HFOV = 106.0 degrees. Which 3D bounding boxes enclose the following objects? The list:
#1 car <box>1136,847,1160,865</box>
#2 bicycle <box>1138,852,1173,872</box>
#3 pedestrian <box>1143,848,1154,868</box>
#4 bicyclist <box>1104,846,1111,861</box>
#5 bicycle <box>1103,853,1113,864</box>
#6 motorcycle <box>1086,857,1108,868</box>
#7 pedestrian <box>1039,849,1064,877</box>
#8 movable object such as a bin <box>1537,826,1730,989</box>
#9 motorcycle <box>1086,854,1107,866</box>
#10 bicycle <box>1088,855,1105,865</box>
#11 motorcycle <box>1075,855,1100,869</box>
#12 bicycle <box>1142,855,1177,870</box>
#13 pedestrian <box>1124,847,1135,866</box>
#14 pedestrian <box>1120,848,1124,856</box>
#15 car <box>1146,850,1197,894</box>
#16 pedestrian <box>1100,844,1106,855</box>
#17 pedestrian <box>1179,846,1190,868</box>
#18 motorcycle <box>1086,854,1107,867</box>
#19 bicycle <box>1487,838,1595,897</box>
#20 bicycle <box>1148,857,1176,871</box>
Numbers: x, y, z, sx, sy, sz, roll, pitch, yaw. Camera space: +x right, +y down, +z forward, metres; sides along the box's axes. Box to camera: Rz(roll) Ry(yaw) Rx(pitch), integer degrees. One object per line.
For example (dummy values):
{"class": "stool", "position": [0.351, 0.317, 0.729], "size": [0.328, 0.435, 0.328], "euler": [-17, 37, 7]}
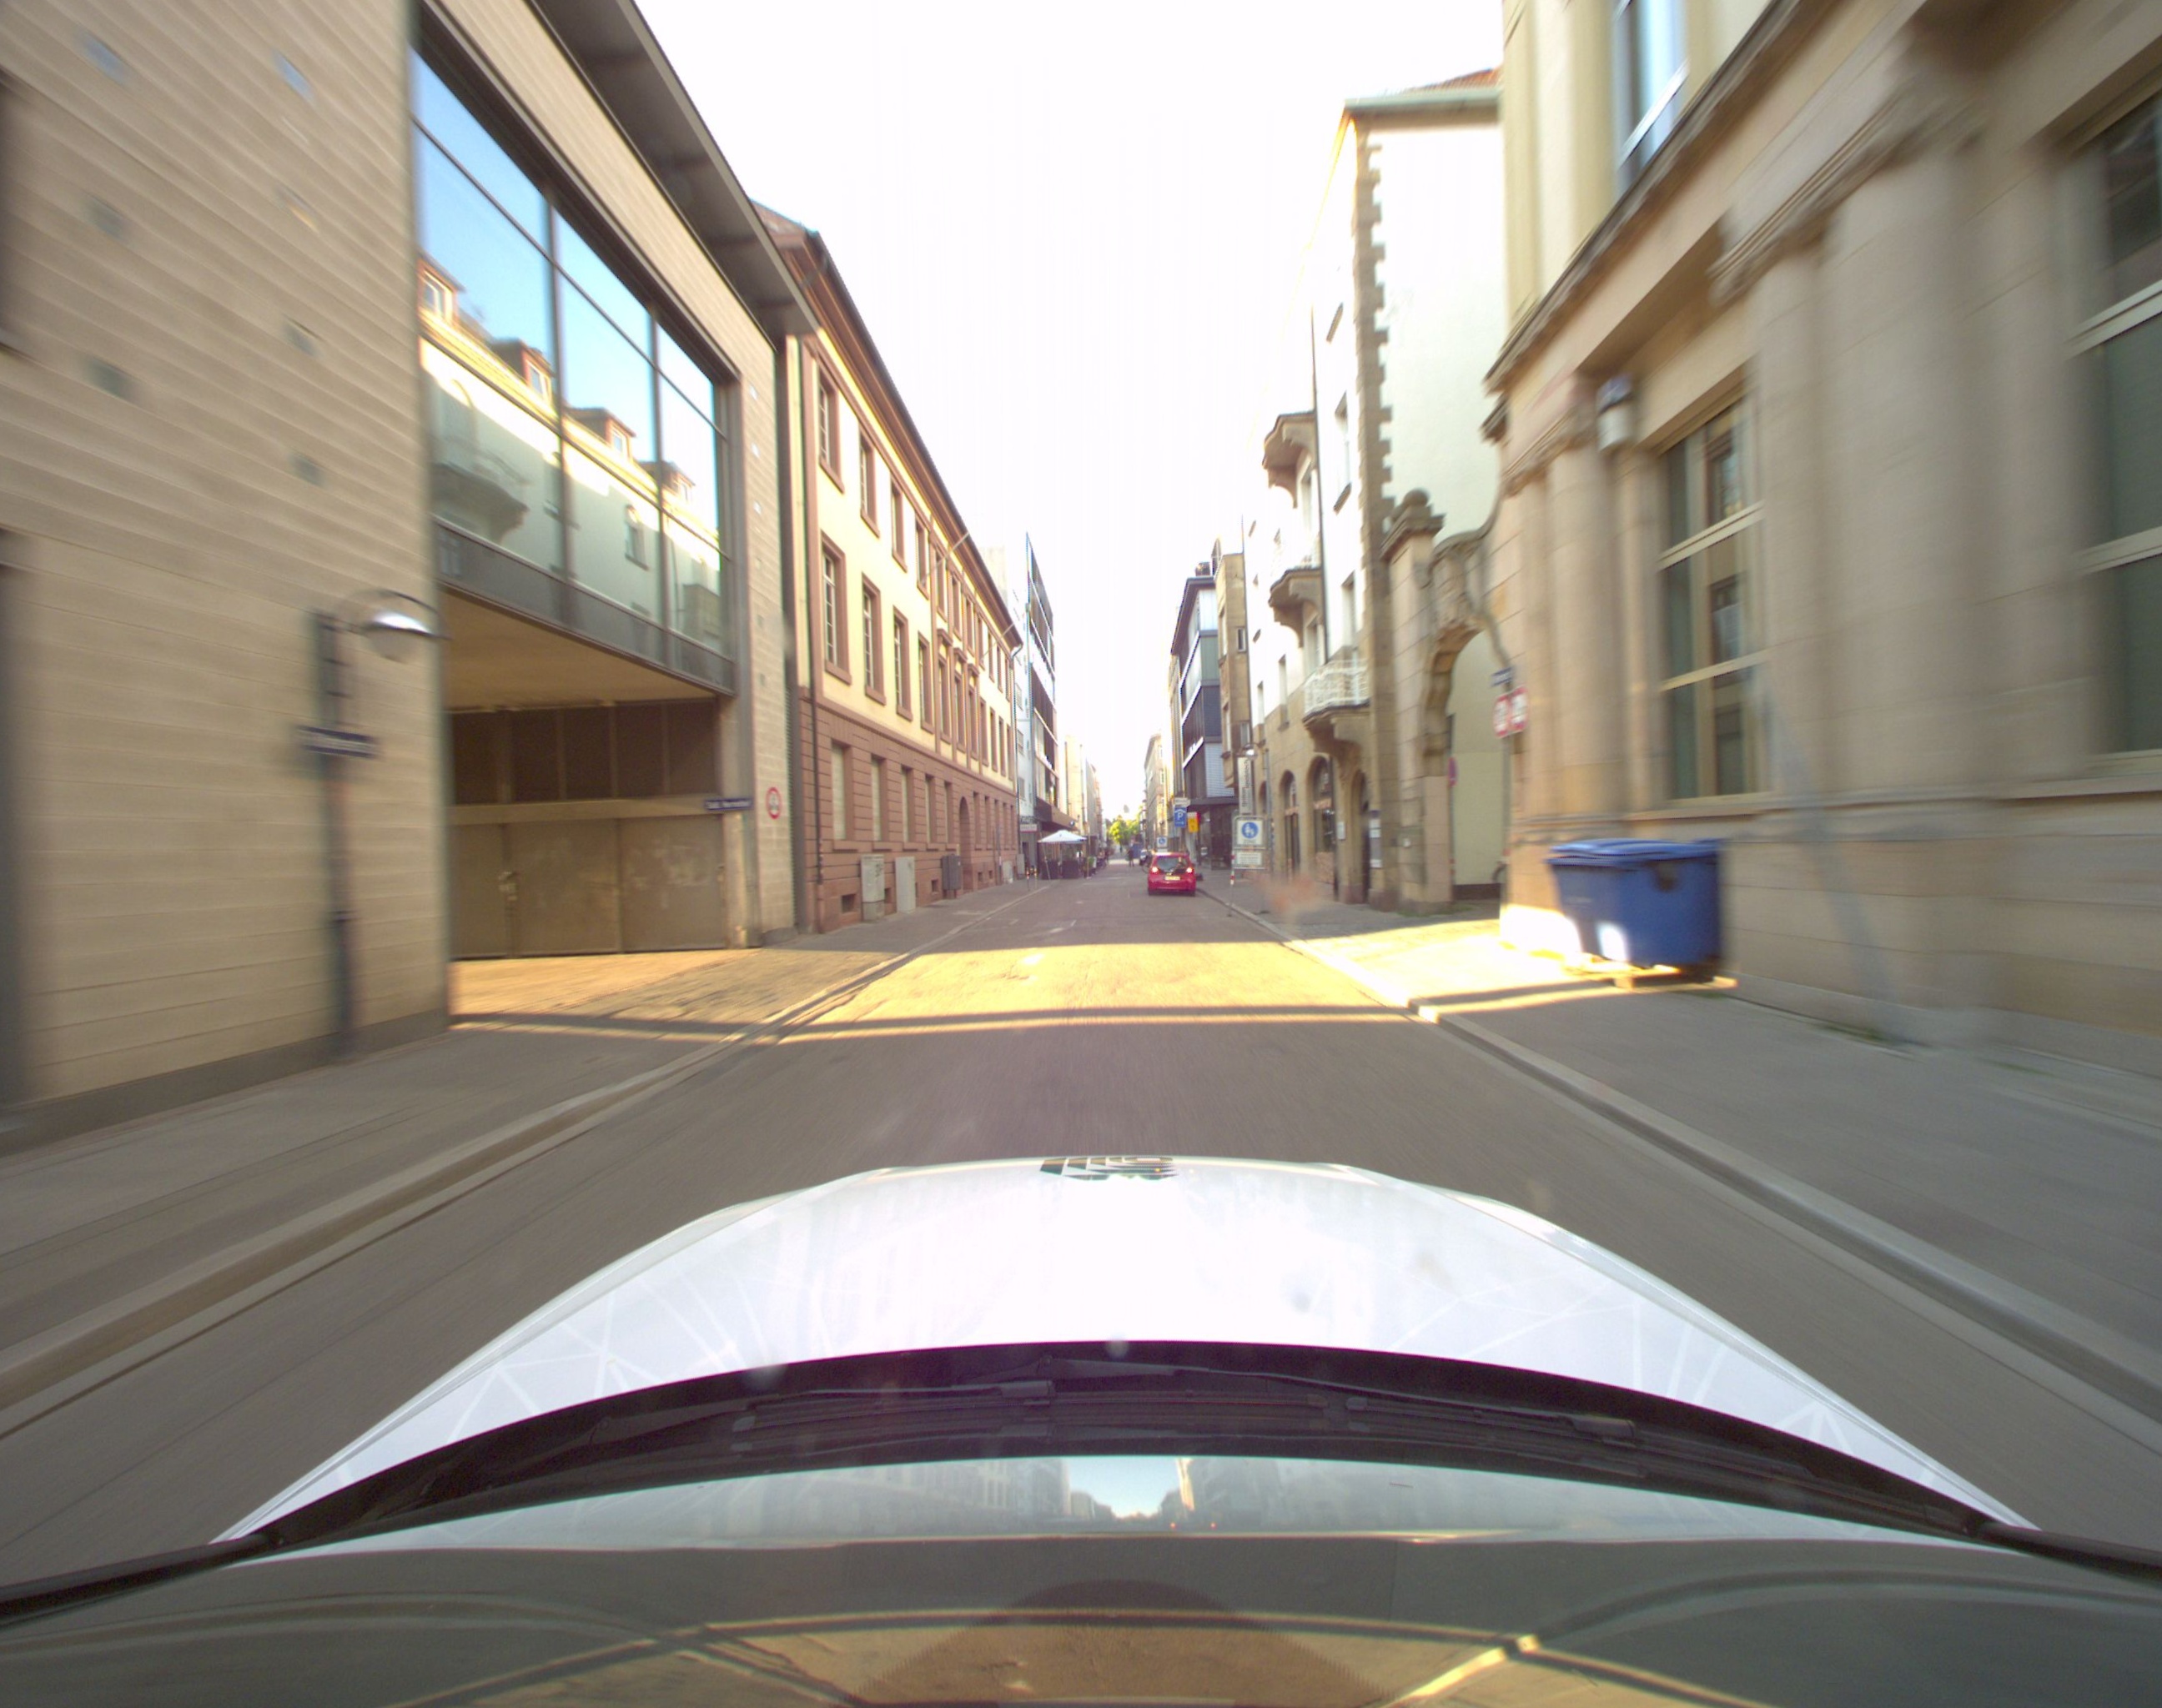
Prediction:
{"class": "car", "position": [6.432, 0.148, 78.255], "size": [1.986, 1.611, 4.001], "euler": [-2, 0, 1]}
{"class": "bicycle", "position": [4.624, 0.498, 50.628], "size": [2.046, 1.134, 0.649], "euler": [-2, 0, -1]}
{"class": "pedestrian", "position": [5.453, 0.324, 65.834], "size": [0.627, 1.619, 0.469], "euler": [-2, 0, 43]}
{"class": "bicyclist", "position": [2.813, -0.046, 86.007], "size": [0.635, 1.641, 0.770], "euler": [-2, 0, -6]}
{"class": "bicycle", "position": [2.833, 0.435, 85.930], "size": [0.635, 1.157, 2.496], "euler": [-2, 0, -6]}
{"class": "motorcycle", "position": [1.357, 0.695, 68.835], "size": [1.796, 0.875, 0.560], "euler": [-2, 0, -2]}
{"class": "pedestrian", "position": [-1.617, 0.509, 44.789], "size": [1.286, 1.487, 0.661], "euler": [-2, 0, 0]}
{"class": "movable object such as a bin", "position": [5.229, 0.472, 7.818], "size": [0.986, 1.392, 1.241], "euler": [-3, 0, 2]}
{"class": "motorcycle", "position": [1.318, 0.501, 71.503], "size": [1.796, 0.989, 0.560], "euler": [-2, 0, -2]}
{"class": "bicycle", "position": [1.429, 0.574, 75.515], "size": [1.526, 0.896, 0.481], "euler": [-2, 0, -25]}
{"class": "motorcycle", "position": [0.503, 0.591, 60.666], "size": [1.796, 1.040, 0.493], "euler": [-2, 0, -2]}
{"class": "bicycle", "position": [5.147, 0.548, 53.362], "size": [2.194, 0.906, 0.649], "euler": [-2, 0, -1]}
{"class": "pedestrian", "position": [4.603, 0.252, 77.375], "size": [0.864, 1.713, 0.851], "euler": [-2, 0, -6]}
{"class": "pedestrian", "position": [8.552, -0.456, 170.095], "size": [0.801, 1.672, 0.889], "euler": [-2, 0, 5]}
{"class": "car", "position": [3.156, 0.599, 28.852], "size": [1.642, 1.427, 3.539], "euler": [1, 0, 3]}
{"class": "pedestrian", "position": [3.218, -0.679, 119.681], "size": [0.675, 1.623, 0.626], "euler": [-2, 0, 5]}
{"class": "pedestrian", "position": [7.012, 0.215, 54.999], "size": [0.653, 1.487, 0.493], "euler": [-2, 0, 5]}
{"class": "motorcycle", "position": [1.326, 0.557, 69.867], "size": [1.796, 0.989, 0.560], "euler": [-2, 0, -2]}
{"class": "bicycle", "position": [8.904, 0.261, 15.801], "size": [1.804, 1.066, 0.444], "euler": [-2, 0, 2]}
{"class": "bicycle", "position": [4.871, 0.592, 49.072], "size": [1.560, 0.768, 0.557], "euler": [-2, 0, -1]}
